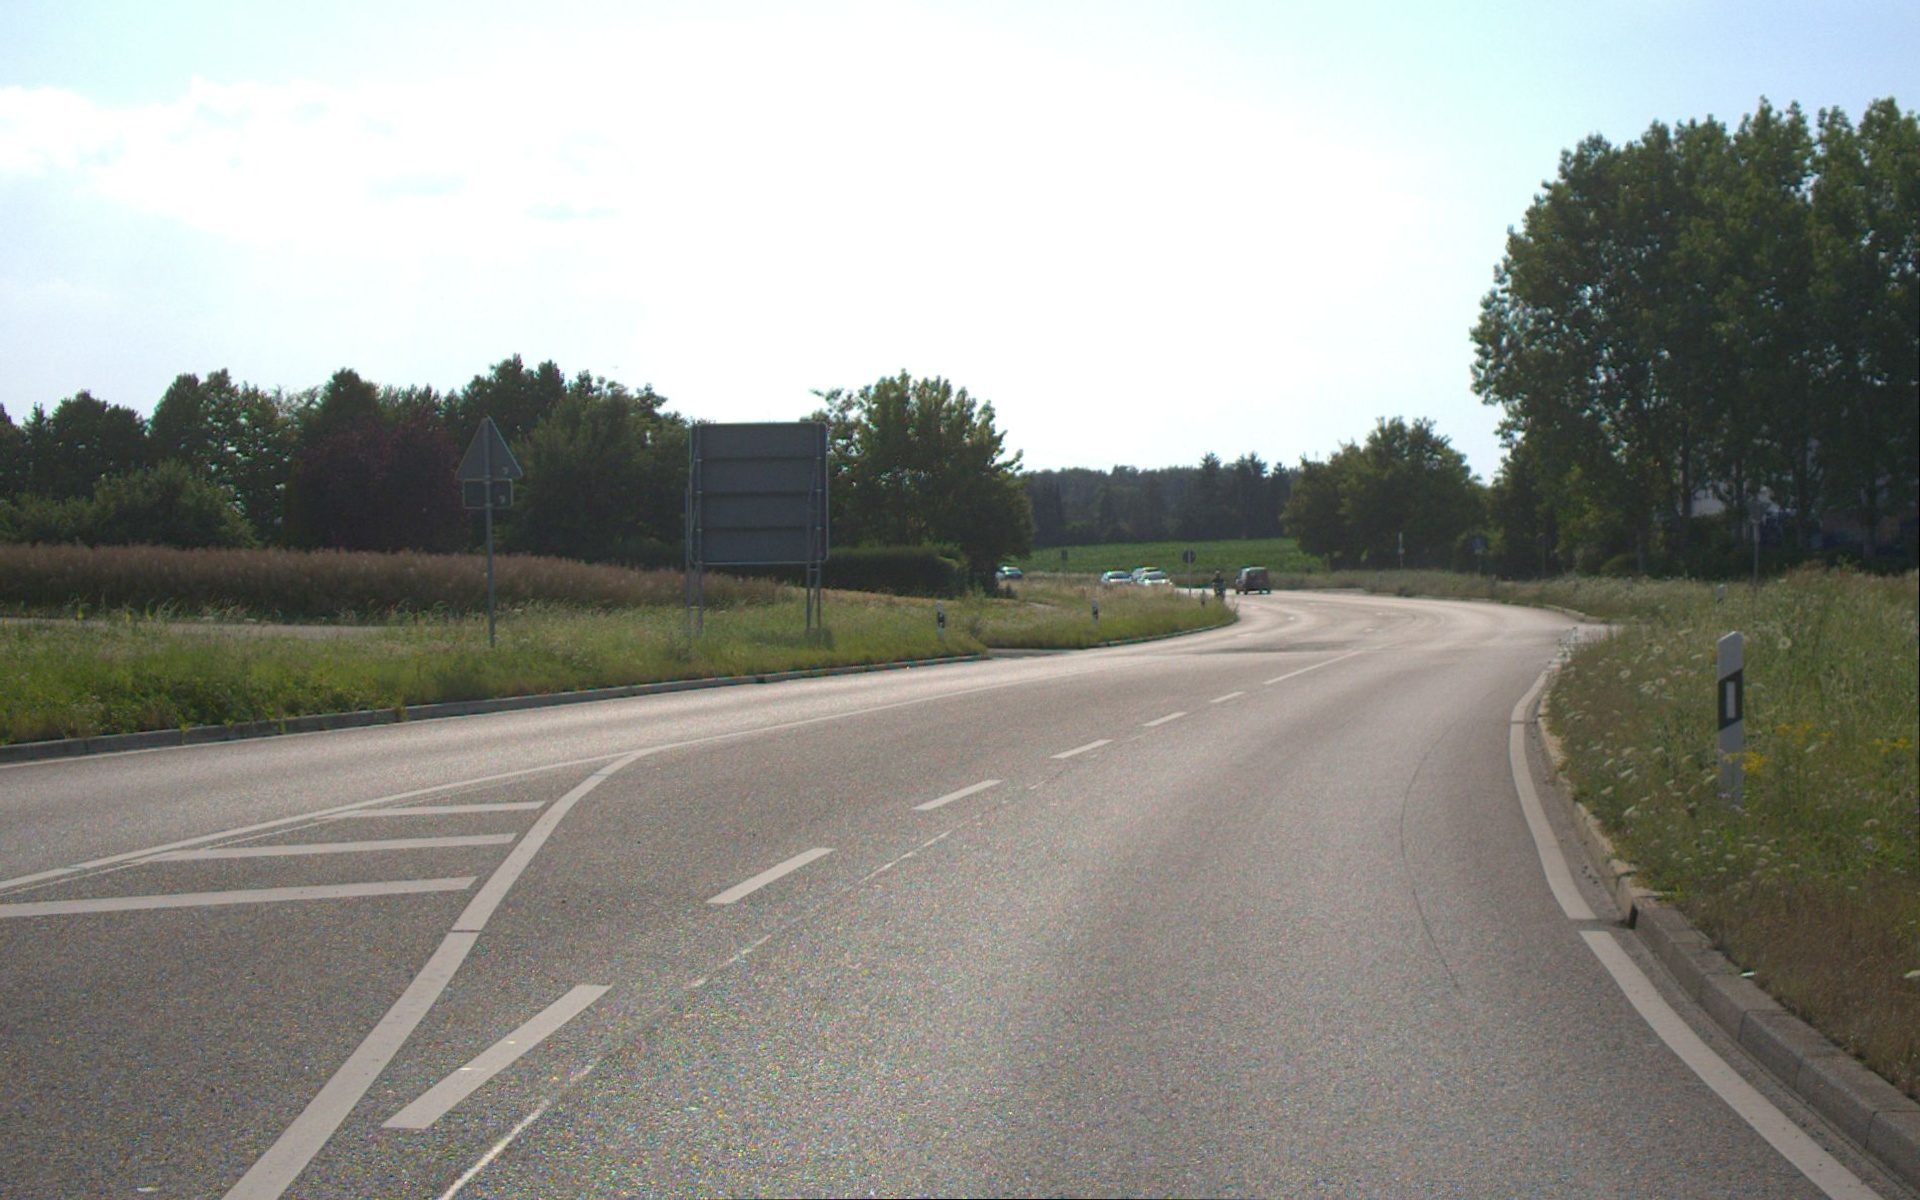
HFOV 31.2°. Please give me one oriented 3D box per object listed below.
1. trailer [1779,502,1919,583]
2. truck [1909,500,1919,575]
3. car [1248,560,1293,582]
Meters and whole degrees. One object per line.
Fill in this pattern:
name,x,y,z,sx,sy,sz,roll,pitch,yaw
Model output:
trailer,40.632,-2.483,151.403,2.683,3.131,13.273,2,-2,-16
truck,42.594,-2.667,144.374,2.619,3.151,5.711,2,-1,-16
car,18.181,-1.686,201.378,1.967,1.147,3.868,2,0,-4
